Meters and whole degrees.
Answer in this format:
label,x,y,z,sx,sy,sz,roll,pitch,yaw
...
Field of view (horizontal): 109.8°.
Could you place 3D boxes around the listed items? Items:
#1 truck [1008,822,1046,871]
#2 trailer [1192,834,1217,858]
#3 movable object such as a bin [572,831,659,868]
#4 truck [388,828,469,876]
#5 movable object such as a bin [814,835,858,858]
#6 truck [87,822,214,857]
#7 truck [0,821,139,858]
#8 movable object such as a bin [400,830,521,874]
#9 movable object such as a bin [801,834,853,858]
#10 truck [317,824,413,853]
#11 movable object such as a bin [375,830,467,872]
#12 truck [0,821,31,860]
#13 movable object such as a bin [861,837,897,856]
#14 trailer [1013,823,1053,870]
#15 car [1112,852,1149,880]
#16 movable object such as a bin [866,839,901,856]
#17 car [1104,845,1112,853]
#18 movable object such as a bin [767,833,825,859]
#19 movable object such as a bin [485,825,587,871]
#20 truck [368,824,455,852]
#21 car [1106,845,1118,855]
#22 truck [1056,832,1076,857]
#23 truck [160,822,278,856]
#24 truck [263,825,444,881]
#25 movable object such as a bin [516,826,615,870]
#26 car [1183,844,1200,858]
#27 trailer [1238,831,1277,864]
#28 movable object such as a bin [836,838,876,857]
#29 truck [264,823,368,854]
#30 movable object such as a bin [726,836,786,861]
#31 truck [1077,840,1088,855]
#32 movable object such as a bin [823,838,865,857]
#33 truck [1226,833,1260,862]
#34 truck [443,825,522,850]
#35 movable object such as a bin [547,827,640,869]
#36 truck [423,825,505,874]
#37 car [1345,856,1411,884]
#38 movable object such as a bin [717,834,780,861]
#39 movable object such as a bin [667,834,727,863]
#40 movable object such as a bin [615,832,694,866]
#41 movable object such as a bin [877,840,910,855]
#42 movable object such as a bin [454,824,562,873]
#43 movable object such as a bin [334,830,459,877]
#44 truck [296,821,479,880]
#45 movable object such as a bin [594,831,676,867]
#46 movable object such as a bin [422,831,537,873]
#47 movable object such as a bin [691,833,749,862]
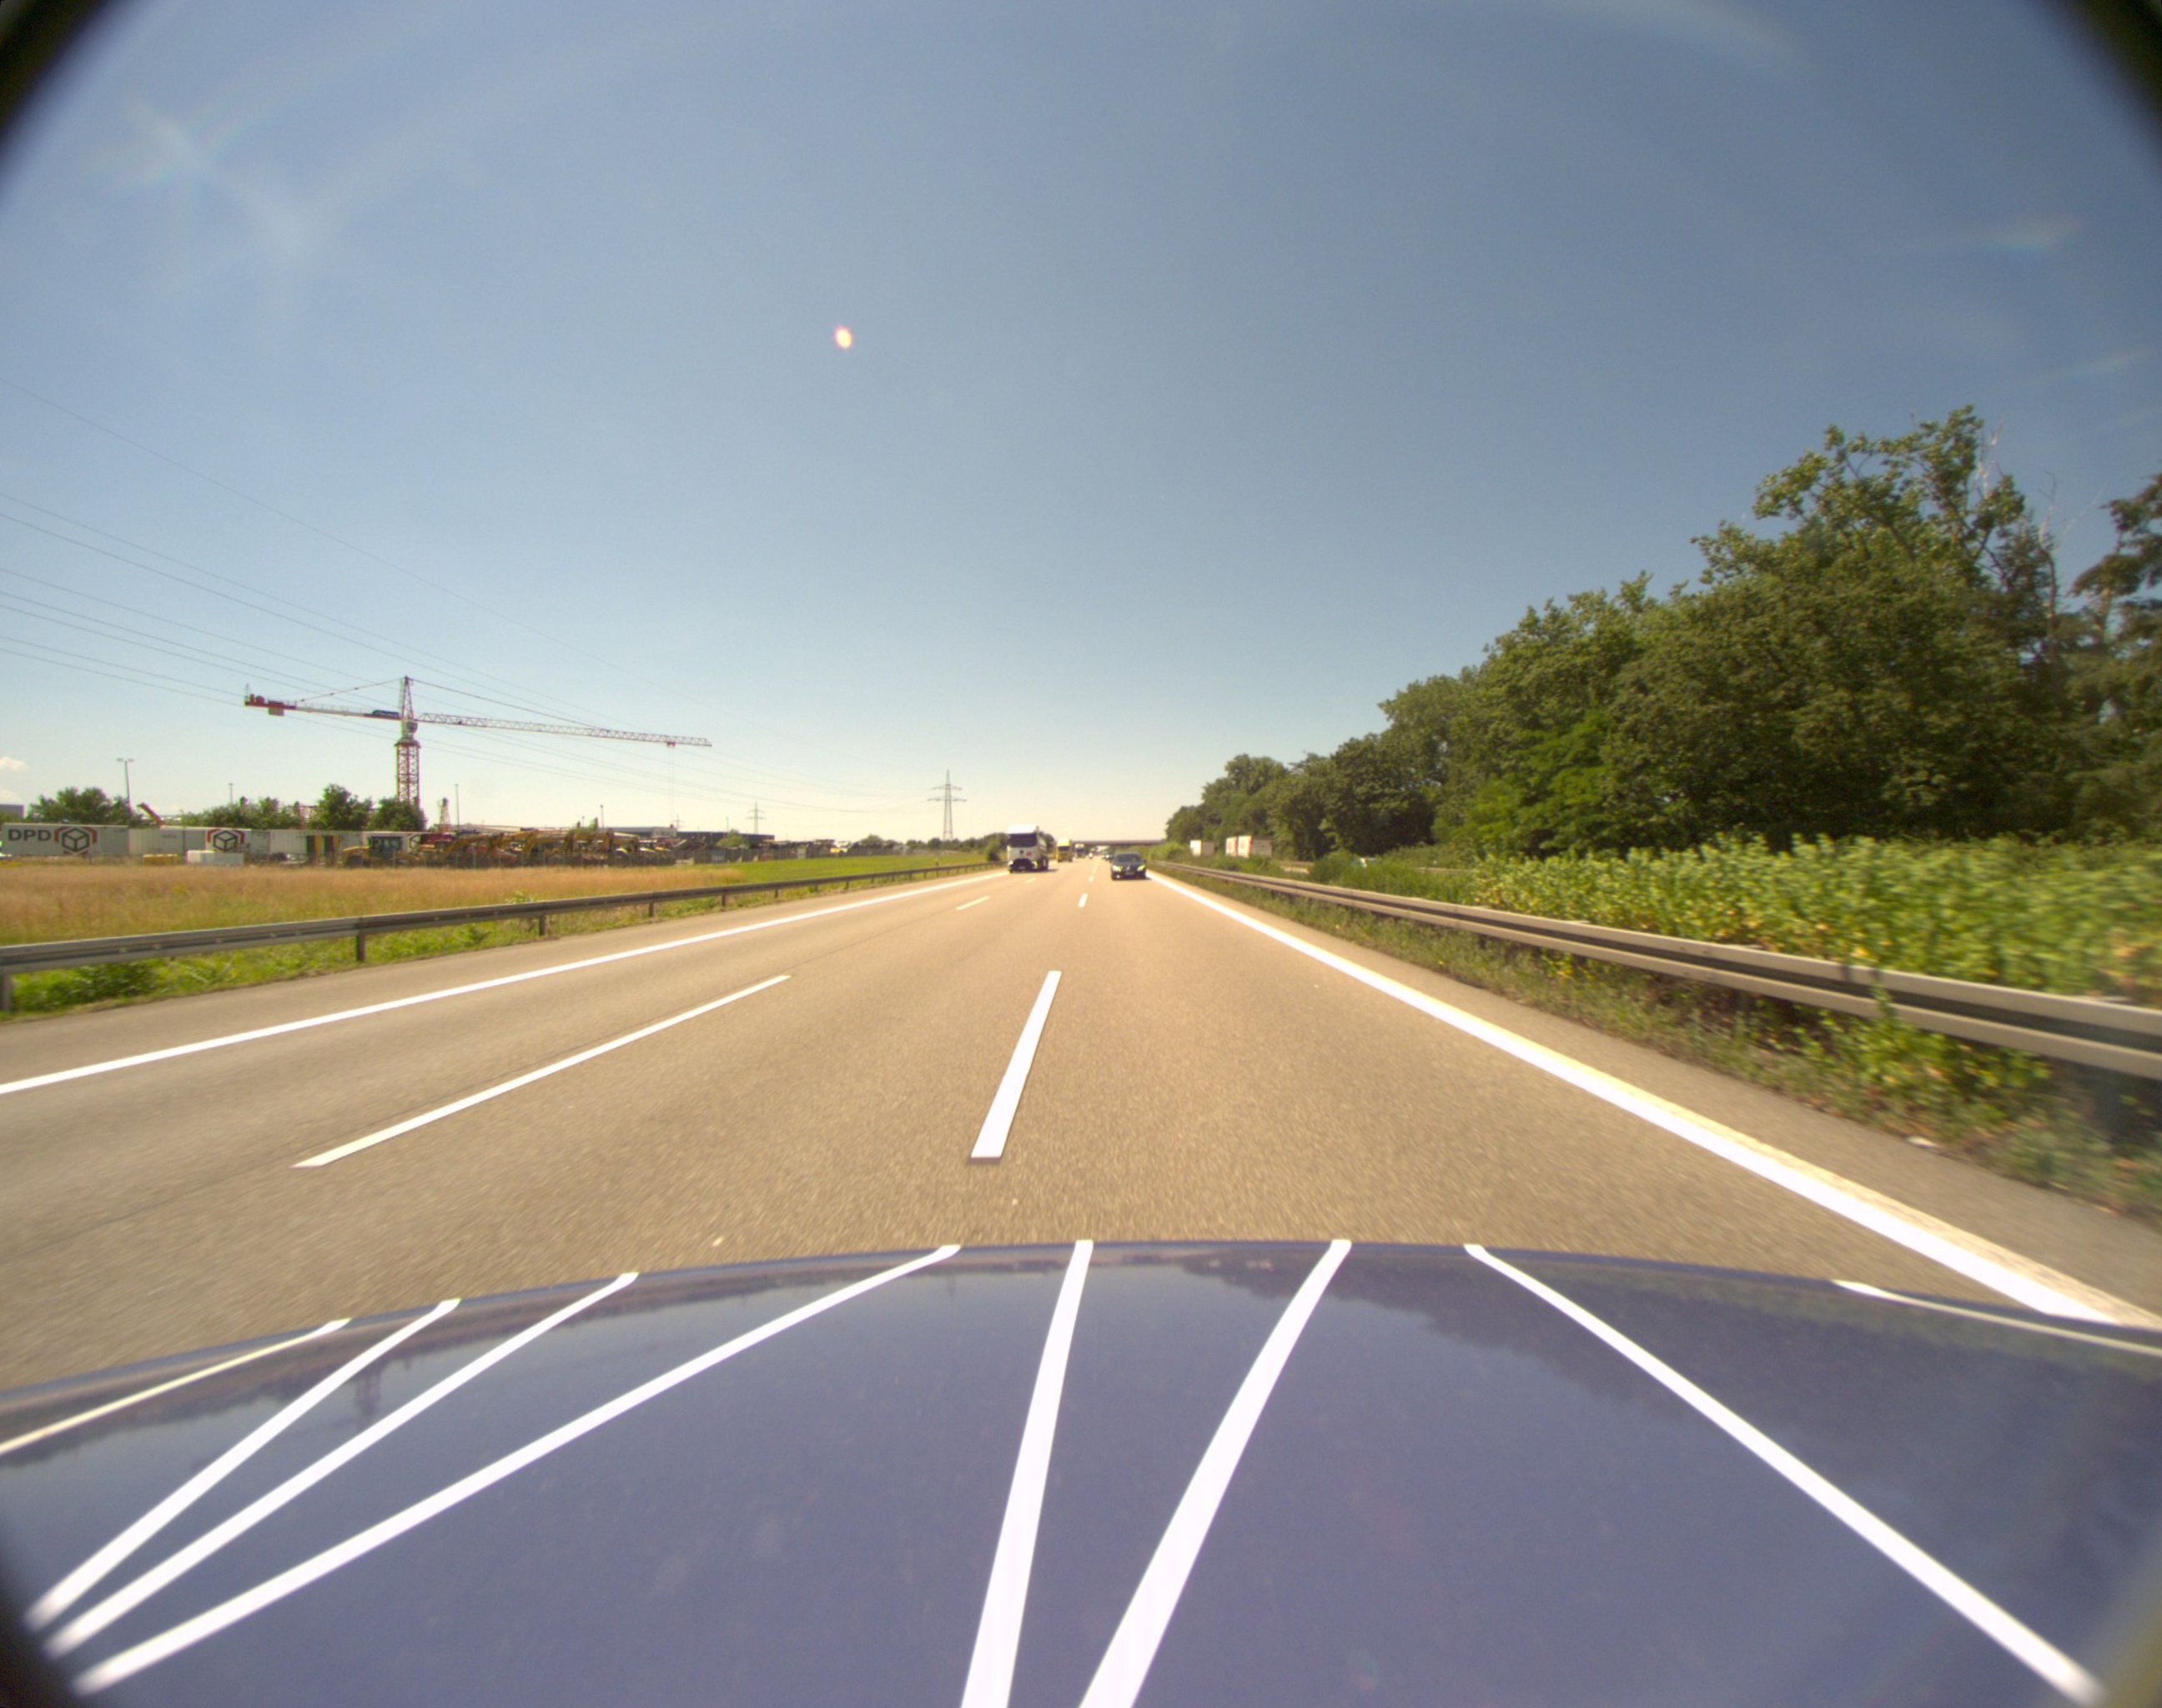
label,x,y,z,sx,sy,sz,roll,pitch,yaw
truck,-4.478,-0.638,64.364,2.573,3.871,5.723,-2,1,1
trailer,22.807,-1.470,141.511,2.543,4.067,14.245,1,1,1
movable object such as a bin,-54.226,-0.577,88.680,8.112,3.928,3.137,-2,1,3
truck,-68.486,-0.257,79.926,3.051,4.745,5.983,-2,1,2
movable object such as a bin,-51.784,-1.657,160.706,8.112,4.486,3.351,-2,1,3
truck,-94.313,-1.457,77.168,8.178,3.392,2.632,0,1,-14
truck,-96.341,-1.333,72.534,8.178,3.392,2.524,0,1,-15
movable object such as a bin,-53.654,-0.162,65.841,8.112,3.443,2.881,-2,1,3
movable object such as a bin,-52.271,-1.597,156.416,9.377,4.486,3.437,-2,1,3
truck,-87.617,-1.902,93.089,8.178,3.392,2.833,0,1,-14
movable object such as a bin,-78.281,-0.381,90.204,8.826,4.623,3.295,-2,1,11
truck,-99.059,-1.242,67.062,8.170,3.392,2.755,1,1,-5
movable object such as a bin,-50.362,-1.912,189.475,8.112,4.349,2.881,-2,1,3
trailer,-4.339,-0.710,71.211,2.573,3.871,13.279,-2,1,1
car,2.664,0.624,41.876,1.808,1.385,4.000,-2,1,1
movable object such as a bin,-50.210,-1.730,193.119,8.112,3.916,2.881,-2,1,3
car,5.810,-1.019,163.860,1.861,1.696,4.000,0,1,1
movable object such as a bin,-53.685,-1.431,143.290,9.377,4.486,3.437,-2,1,3
movable object such as a bin,-54.497,-0.607,76.080,8.112,4.272,2.881,-2,1,3
truck,-85.659,-2.020,97.359,8.172,3.392,2.835,1,1,-6
car,5.245,-0.641,129.005,1.861,1.696,4.000,0,1,1
truck,-2.631,-1.695,135.025,2.977,4.240,12.610,0,1,1
truck,-92.360,-1.577,81.578,8.178,3.392,2.833,0,1,-14
truck,-68.788,-0.175,72.685,3.051,4.745,14.134,-2,1,2
movable object such as a bin,-54.568,-0.648,80.607,8.112,4.272,3.351,-2,1,3
car,18.765,-0.518,128.985,2.130,2.452,5.085,0,1,1
trailer,21.710,-0.790,93.945,2.933,3.806,9.274,0,1,1
movable object such as a bin,-51.596,-1.509,174.078,8.112,3.883,2.881,-2,1,3
truck,-89.364,-1.793,88.911,8.178,3.392,2.833,0,1,-14
movable object such as a bin,-56.548,-0.969,132.260,9.368,4.029,3.440,-2,1,16
truck,0.423,-2.030,222.560,2.977,4.240,12.610,0,1,1
movable object such as a bin,-51.456,-1.457,165.277,8.112,3.883,2.881,-2,1,3
truck,21.889,-0.887,103.203,2.933,3.806,9.274,0,1,1
truck,-82.614,-2.247,105.100,8.175,3.392,2.834,0,1,-11
movable object such as a bin,-54.238,-0.701,84.718,8.112,4.272,3.299,-2,1,3
truck,-62.407,-0.468,77.062,3.051,4.745,5.983,-2,1,2
car,15.754,0.832,40.528,1.858,1.371,4.310,0,0,0
movable object such as a bin,-54.769,-1.029,125.164,9.366,4.029,3.441,-2,1,19
movable object such as a bin,-56.872,-0.808,112.366,9.361,4.029,3.442,-2,1,33
movable object such as a bin,-53.953,-0.661,96.259,8.112,3.928,3.137,-2,1,3
movable object such as a bin,-51.897,-1.831,210.366,8.112,3.916,2.881,-2,1,3
movable object such as a bin,-54.610,-0.512,72.548,8.112,4.272,2.881,-2,1,3
movable object such as a bin,-55.578,-0.047,61.777,7.583,3.443,2.881,-2,1,3
truck,-62.697,-0.385,69.637,3.051,4.745,14.324,-2,1,2
movable object such as a bin,-54.152,-0.616,92.377,8.112,3.928,3.137,-2,1,3
movable object such as a bin,-54.736,-0.152,69.266,8.112,3.443,2.881,-2,1,3
movable object such as a bin,-54.968,-1.001,115.665,9.361,4.029,3.442,-2,1,33
